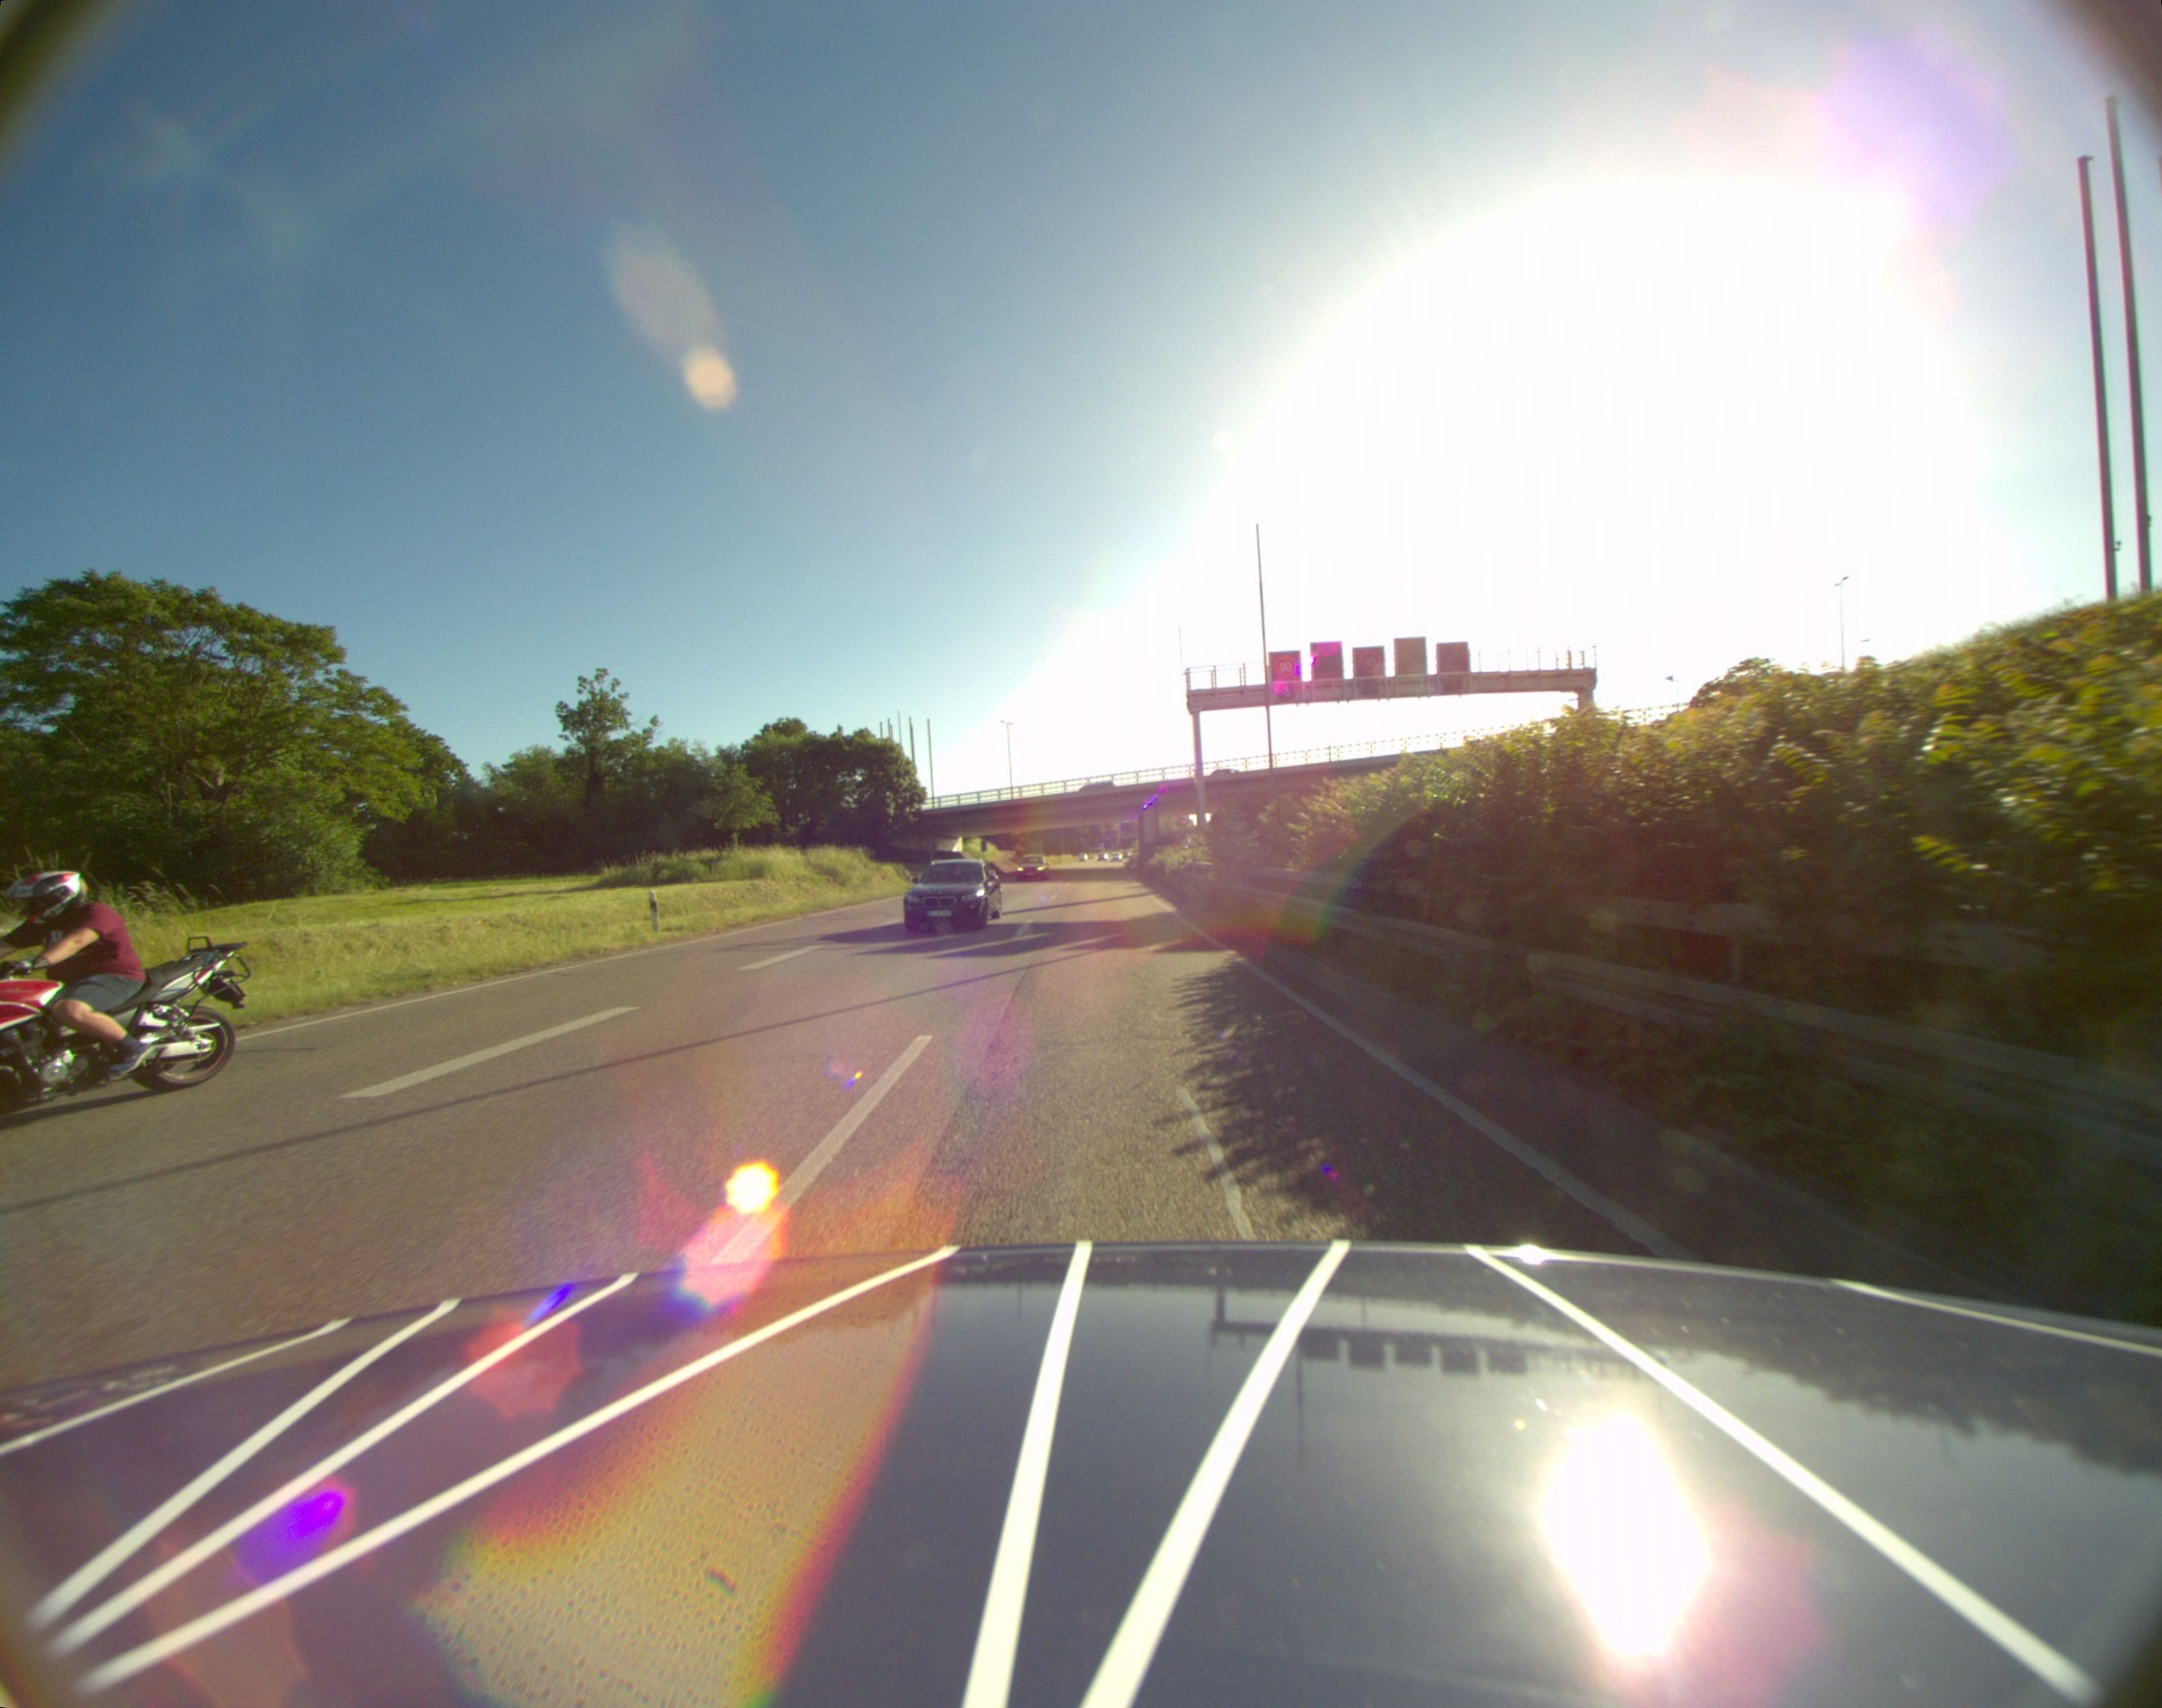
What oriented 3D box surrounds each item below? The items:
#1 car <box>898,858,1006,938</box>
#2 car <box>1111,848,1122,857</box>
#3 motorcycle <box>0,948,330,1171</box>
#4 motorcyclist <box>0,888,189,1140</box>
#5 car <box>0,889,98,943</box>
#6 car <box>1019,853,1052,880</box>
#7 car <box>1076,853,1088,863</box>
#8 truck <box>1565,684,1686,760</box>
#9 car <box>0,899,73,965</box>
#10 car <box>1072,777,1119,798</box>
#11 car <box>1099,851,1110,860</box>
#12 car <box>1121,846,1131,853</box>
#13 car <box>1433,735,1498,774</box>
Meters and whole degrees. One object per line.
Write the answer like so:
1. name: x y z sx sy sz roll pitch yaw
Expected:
1. car: -2.916 0.937 18.173 1.703 1.497 4.578 -3 1 1
2. car: 5.922 -0.296 126.259 1.725 1.412 3.670 -2 0 5
3. motorcycle: -6.766 1.341 4.954 0.818 1.063 2.836 -2 1 2
4. motorcyclist: -6.789 0.975 4.850 0.818 1.439 1.093 -2 1 2
5. car: -31.543 1.898 21.688 1.994 1.299 4.116 0 4 36
6. car: -2.896 0.753 49.250 1.759 1.564 4.520 -1 1 1
7. car: 0.225 0.665 137.993 1.867 1.681 4.000 -1 0 3
8. truck: 35.814 -8.628 50.225 6.256 4.048 2.003 -2 1 29
9. car: -25.831 1.919 16.869 1.985 1.300 4.006 0 4 39
10. car: 1.648 -7.388 85.134 4.712 1.872 2.215 -2 1 29
11. car: 4.273 0.238 137.752 1.682 1.412 3.670 -2 0 4
12. car: 9.260 -0.874 155.876 1.682 1.412 3.671 -2 0 6
13. car: 29.969 -7.722 59.290 4.353 2.398 2.003 -2 1 29
